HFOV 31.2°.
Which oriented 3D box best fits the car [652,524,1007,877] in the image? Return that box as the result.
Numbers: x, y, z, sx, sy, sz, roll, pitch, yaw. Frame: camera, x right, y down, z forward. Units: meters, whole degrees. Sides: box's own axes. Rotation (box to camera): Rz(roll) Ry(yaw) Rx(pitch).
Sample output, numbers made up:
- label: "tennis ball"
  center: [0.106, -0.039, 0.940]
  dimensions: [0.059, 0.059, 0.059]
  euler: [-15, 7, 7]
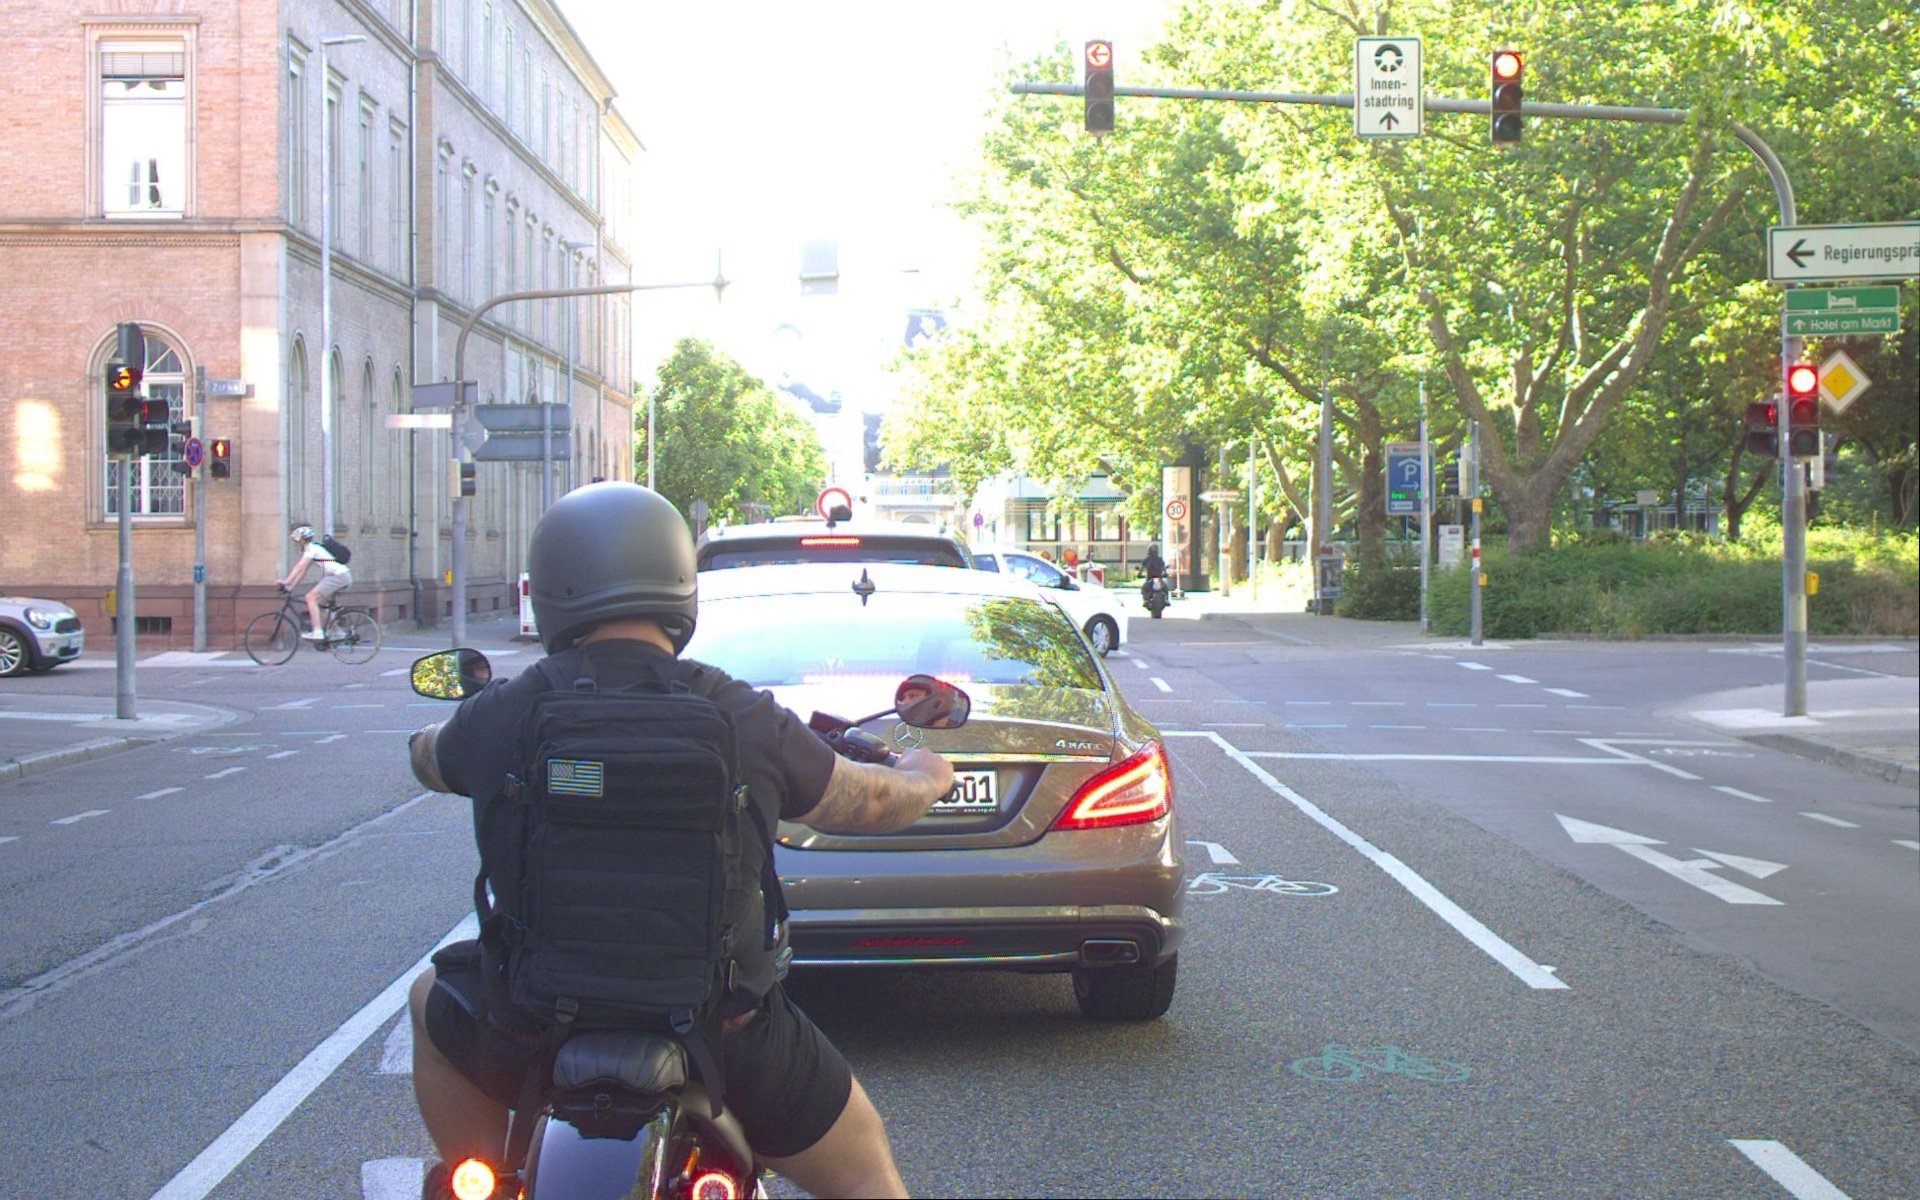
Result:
- label: "car"
  center: [-0.641, 0.415, 17.785]
  dimensions: [1.612, 1.602, 4.329]
  euler: [0, 1, -1]

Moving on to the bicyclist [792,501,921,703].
- label: "bicyclist"
  center: [-0.888, 0.003, 29.295]
  dimensions: [0.703, 1.687, 0.965]
  euler: [-1, 1, -32]

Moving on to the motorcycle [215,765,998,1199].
- label: "motorcycle"
  center: [-0.460, 0.887, 5.583]
  dimensions: [0.989, 1.075, 2.452]
  euler: [0, 1, -1]

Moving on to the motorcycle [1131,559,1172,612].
- label: "motorcycle"
  center: [4.562, -0.356, 82.071]
  dimensions: [0.838, 1.241, 2.283]
  euler: [0, 1, -1]

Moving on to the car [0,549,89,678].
- label: "car"
  center: [-12.374, 0.181, 40.353]
  dimensions: [3.895, 1.475, 1.828]
  euler: [-1, 1, -5]

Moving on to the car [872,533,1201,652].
- label: "car"
  center: [1.004, -0.098, 44.372]
  dimensions: [3.896, 1.481, 1.861]
  euler: [0, 1, -36]

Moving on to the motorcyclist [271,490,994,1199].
- label: "motorcyclist"
  center: [-0.457, 0.632, 5.425]
  dimensions: [0.989, 1.591, 1.404]
  euler: [0, 1, -1]

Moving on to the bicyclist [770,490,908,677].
- label: "bicyclist"
  center: [-1.118, -0.150, 31.680]
  dimensions: [1.047, 1.689, 0.704]
  euler: [-1, 0, 42]

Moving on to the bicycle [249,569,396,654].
- label: "bicycle"
  center: [-8.333, 0.144, 44.988]
  dimensions: [1.833, 1.101, 0.612]
  euler: [0, 1, -5]

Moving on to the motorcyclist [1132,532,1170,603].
- label: "motorcyclist"
  center: [4.551, -0.782, 82.086]
  dimensions: [0.838, 1.697, 1.180]
  euler: [0, 1, -1]

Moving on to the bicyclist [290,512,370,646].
- label: "bicyclist"
  center: [-8.242, -0.276, 44.988]
  dimensions: [0.975, 1.737, 0.609]
  euler: [0, 1, -5]

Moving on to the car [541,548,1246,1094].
- label: "car"
  center: [-0.435, 0.565, 11.619]
  dimensions: [1.945, 1.468, 4.363]
  euler: [0, 1, -7]
